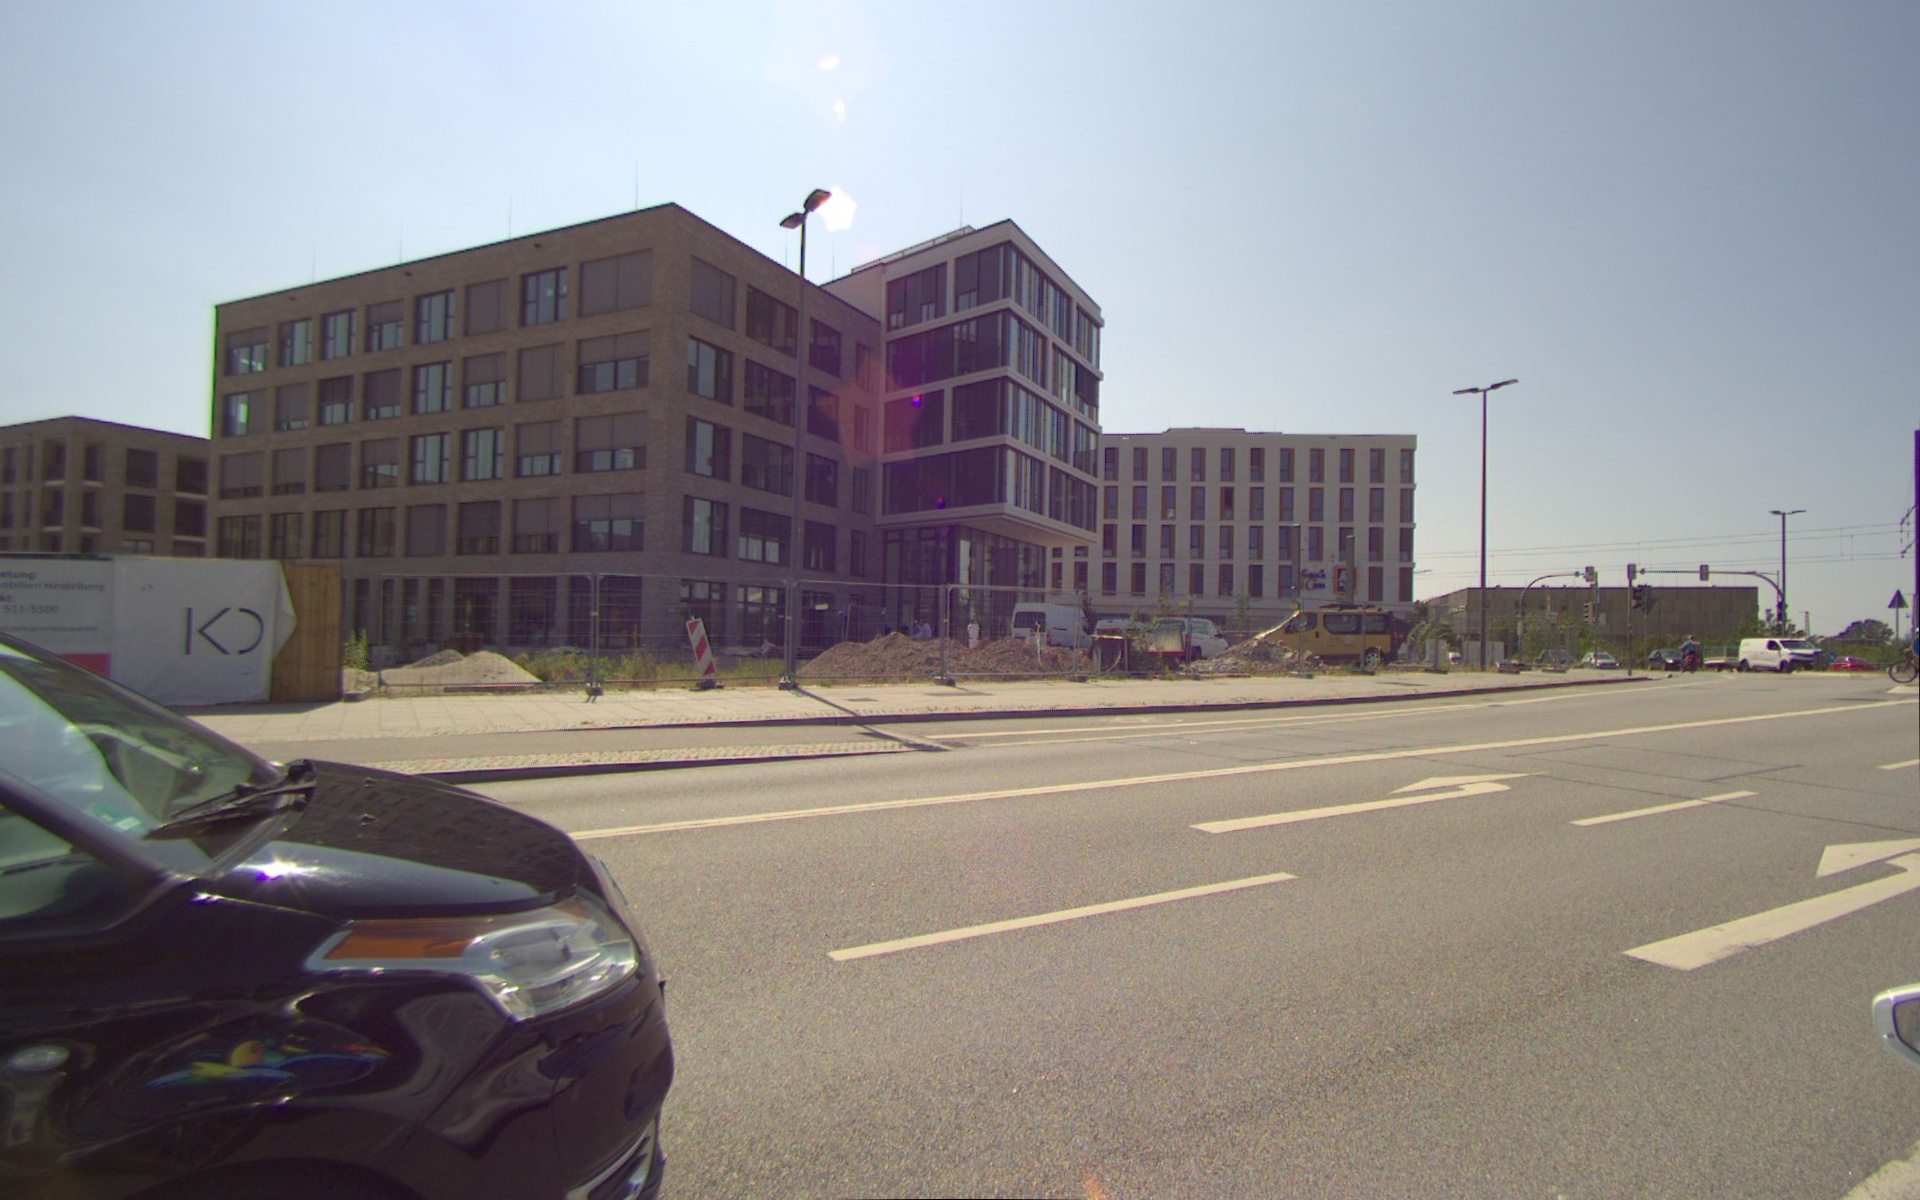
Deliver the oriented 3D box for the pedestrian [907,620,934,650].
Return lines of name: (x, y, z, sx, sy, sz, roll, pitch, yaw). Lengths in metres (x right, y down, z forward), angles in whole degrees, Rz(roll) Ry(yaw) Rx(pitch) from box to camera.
pedestrian: (-1.948, 1.709, 49.412, 1.099, 1.391, 0.742, 2, 0, -17)

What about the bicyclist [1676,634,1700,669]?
bicyclist: (33.572, 2.368, 46.329, 0.810, 1.524, 0.719, 2, -1, 34)

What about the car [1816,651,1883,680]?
car: (59.879, 4.393, 67.676, 1.614, 1.677, 3.393, 2, 0, 5)

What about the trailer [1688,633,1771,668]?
trailer: (45.647, 2.958, 59.690, 1.959, 1.799, 4.288, 2, 0, 7)

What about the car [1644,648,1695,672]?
car: (47.537, 4.007, 67.365, 1.633, 1.408, 3.788, 2, 0, 17)

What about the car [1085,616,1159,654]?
car: (7.100, 1.494, 43.667, 1.773, 1.528, 3.991, 2, 0, 31)

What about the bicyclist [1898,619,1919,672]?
bicyclist: (28.291, 1.349, 29.622, 0.833, 1.522, 0.654, 2, 0, -29)

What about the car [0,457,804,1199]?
car: (-2.431, 0.586, 1.695, 3.872, 1.643, 1.794, 2, 0, -31)

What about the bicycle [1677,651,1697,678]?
bicycle: (33.632, 2.971, 46.459, 0.626, 1.148, 2.320, 1, -1, 33)

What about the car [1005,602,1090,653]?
car: (3.967, 1.206, 44.768, 2.175, 2.083, 4.164, 2, 0, 30)

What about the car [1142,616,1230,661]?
car: (9.543, 1.591, 42.142, 1.969, 1.730, 4.546, 2, 0, 35)

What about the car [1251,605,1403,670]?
car: (12.200, 1.228, 33.634, 4.395, 1.915, 2.001, 2, 0, 8)

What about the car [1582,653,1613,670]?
car: (50.322, 4.855, 79.338, 1.253, 1.257, 2.486, 1, -1, 13)

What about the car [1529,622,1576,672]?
car: (26.404, 2.038, 44.726, 1.646, 2.040, 3.991, 2, 0, 31)

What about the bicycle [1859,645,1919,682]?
bicycle: (28.251, 1.889, 29.661, 0.598, 1.020, 2.493, 2, -1, -29)

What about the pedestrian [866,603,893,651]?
pedestrian: (-3.476, 1.160, 43.413, 0.949, 2.040, 0.940, 2, 0, -17)

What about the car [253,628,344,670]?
car: (-30.447, 2.207, 46.202, 3.708, 1.675, 1.834, 2, 0, 26)

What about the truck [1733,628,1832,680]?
truck: (45.179, 2.915, 55.293, 1.959, 2.574, 4.712, 2, -1, 7)

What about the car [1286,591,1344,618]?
car: (28.912, 0.368, 81.875, 1.986, 2.040, 3.949, 2, 0, -43)

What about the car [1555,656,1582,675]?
car: (54.098, 5.822, 89.399, 1.555, 1.458, 3.153, 2, 0, 23)
